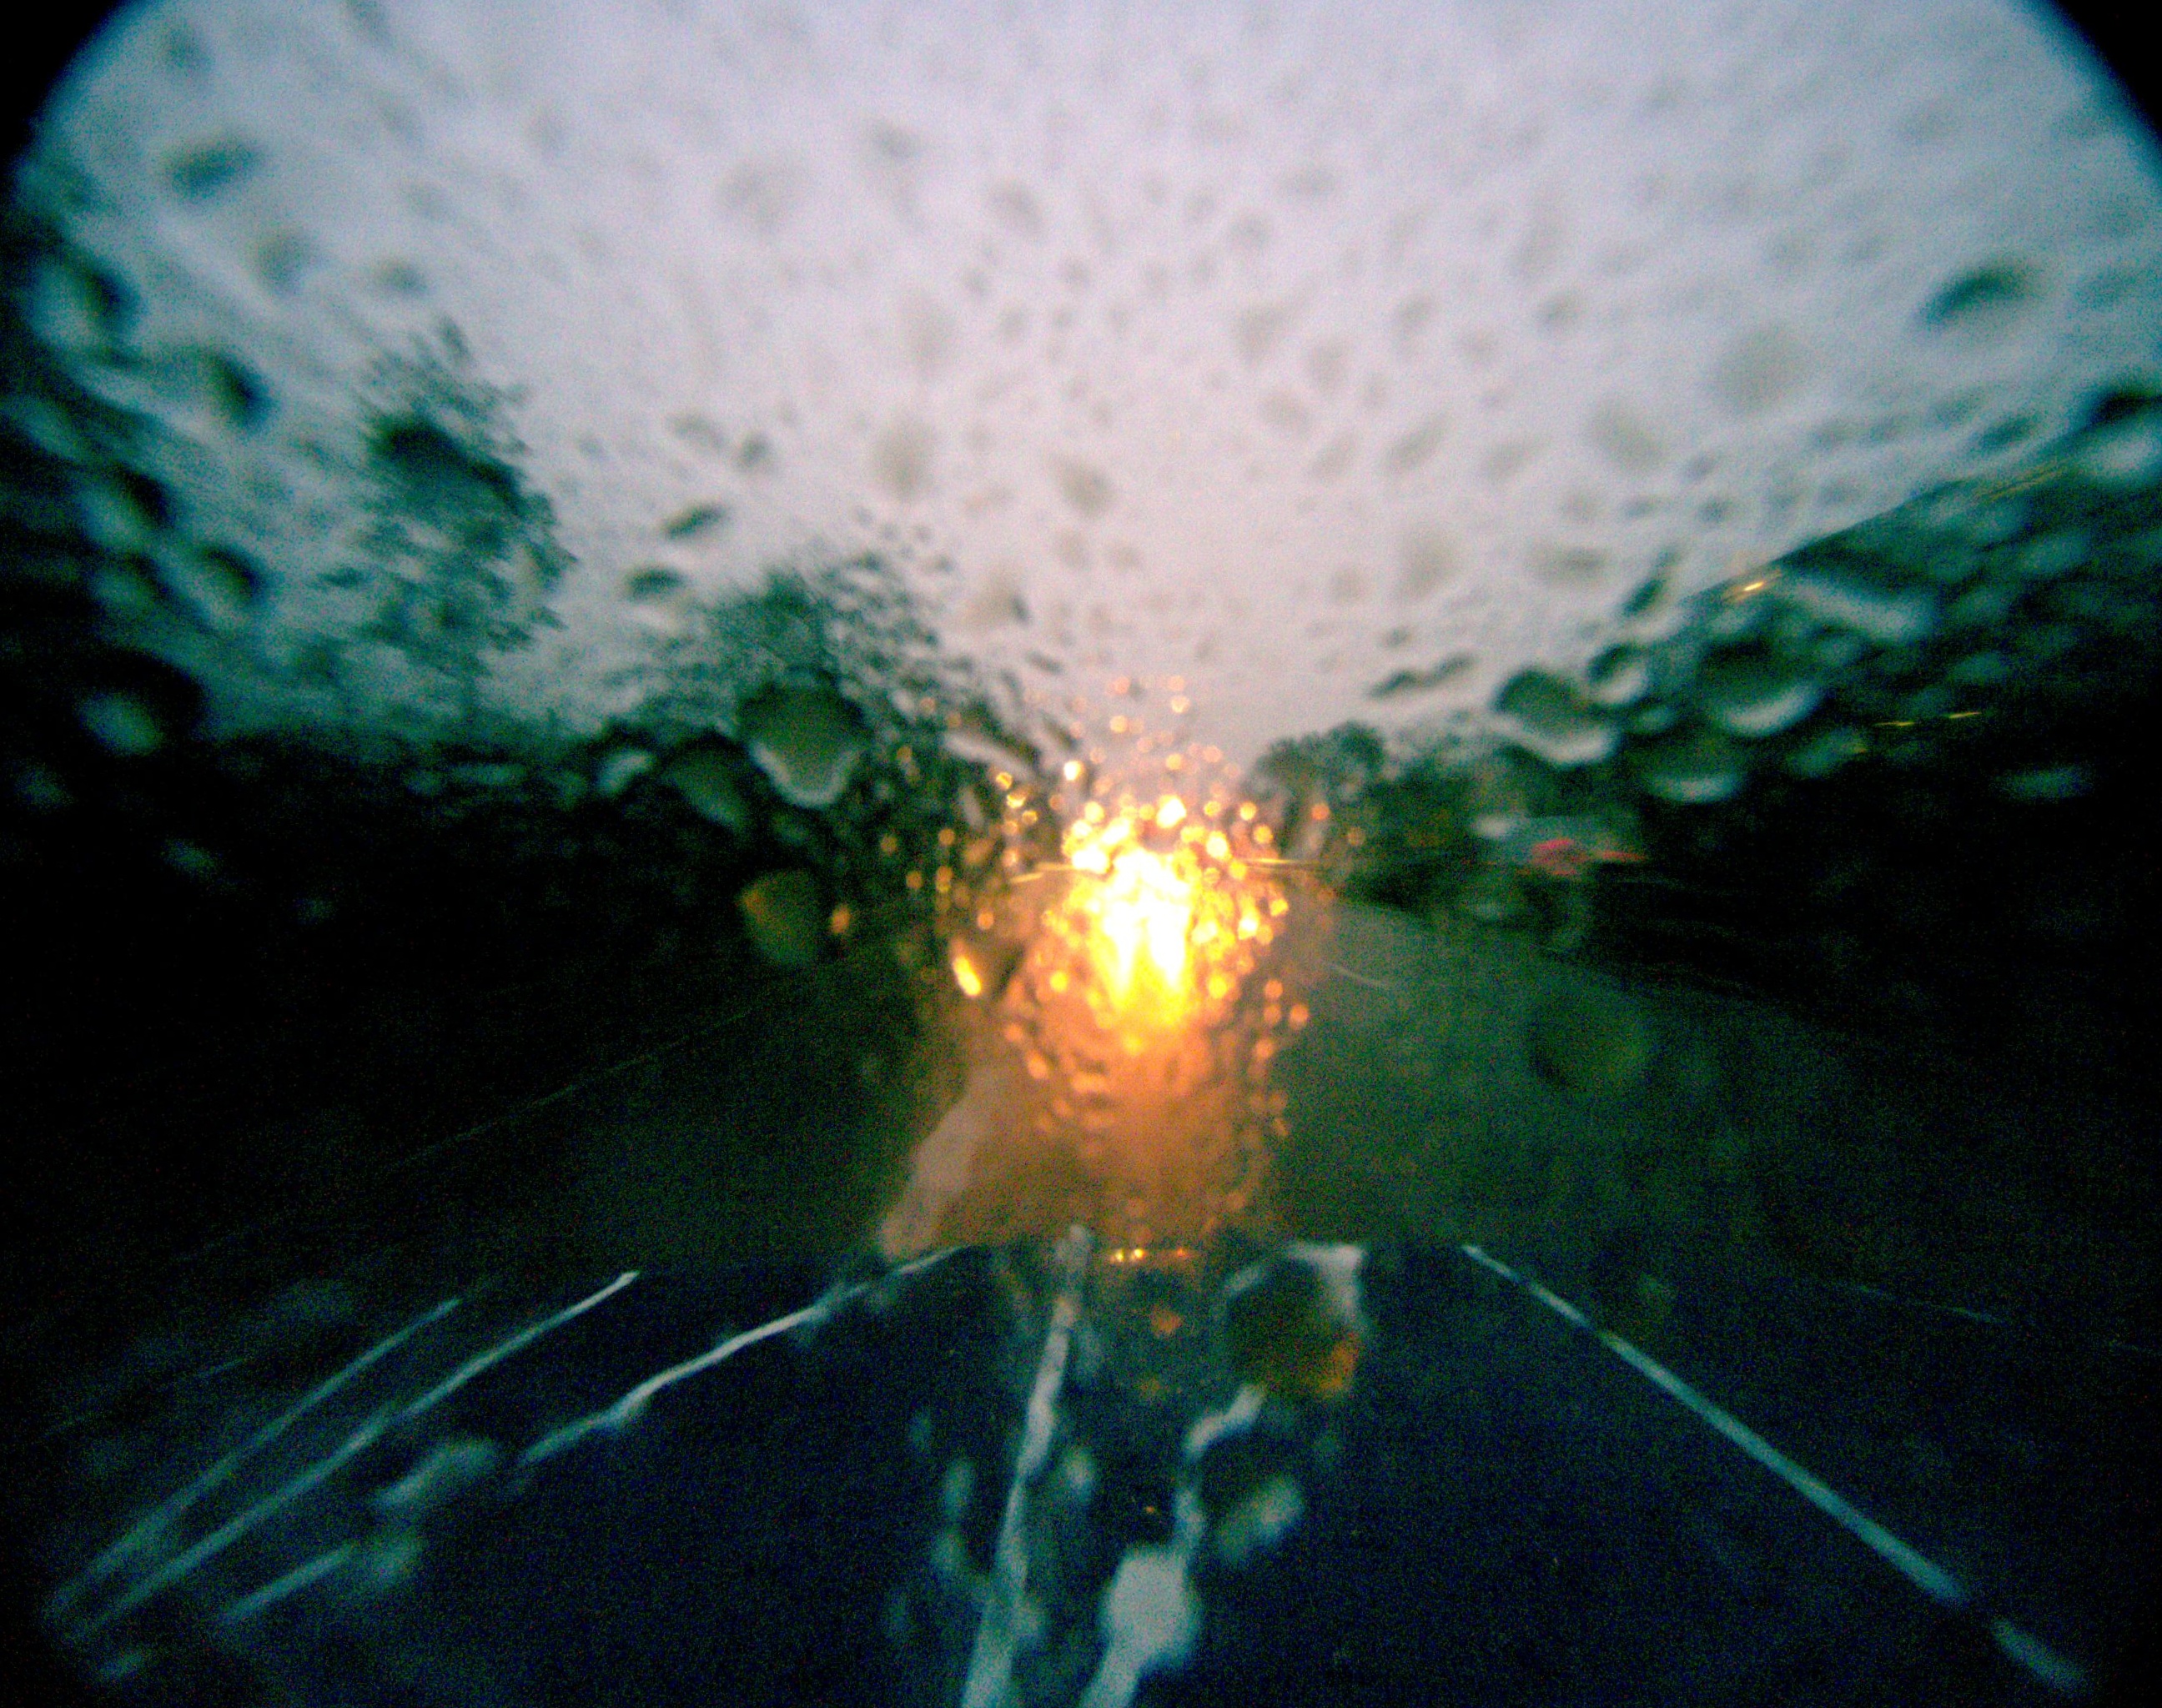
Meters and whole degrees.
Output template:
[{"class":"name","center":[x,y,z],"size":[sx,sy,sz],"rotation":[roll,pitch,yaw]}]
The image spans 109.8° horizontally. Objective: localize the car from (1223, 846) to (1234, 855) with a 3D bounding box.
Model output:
[{"class":"car","center":[27.723,-0.663,142.928],"size":[1.548,1.504,4.541],"rotation":[-3,0,4]}]

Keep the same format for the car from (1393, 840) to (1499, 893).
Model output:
[{"class":"car","center":[12.420,0.381,26.138],"size":[1.786,1.543,4.001],"rotation":[-4,0,3]}]

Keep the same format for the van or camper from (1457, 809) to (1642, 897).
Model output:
[{"class":"van or camper","center":[16.201,-0.052,27.010],"size":[2.081,2.556,7.404],"rotation":[-4,0,2]}]

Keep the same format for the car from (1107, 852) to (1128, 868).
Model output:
[{"class":"car","center":[3.755,0.599,79.008],"size":[1.841,1.553,3.867],"rotation":[-4,0,0]}]

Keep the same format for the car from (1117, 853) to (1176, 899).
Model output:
[{"class":"car","center":[2.458,0.753,28.090],"size":[1.951,1.511,4.789],"rotation":[-2,0,6]}]

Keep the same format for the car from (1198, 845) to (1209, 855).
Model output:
[{"class":"car","center":[36.642,-1.242,227.794],"size":[2.533,2.714,6.341],"rotation":[-4,0,4]}]

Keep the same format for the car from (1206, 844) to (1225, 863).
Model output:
[{"class":"car","center":[17.577,-0.092,99.429],"size":[1.979,2.268,5.050],"rotation":[-2,0,5]}]
